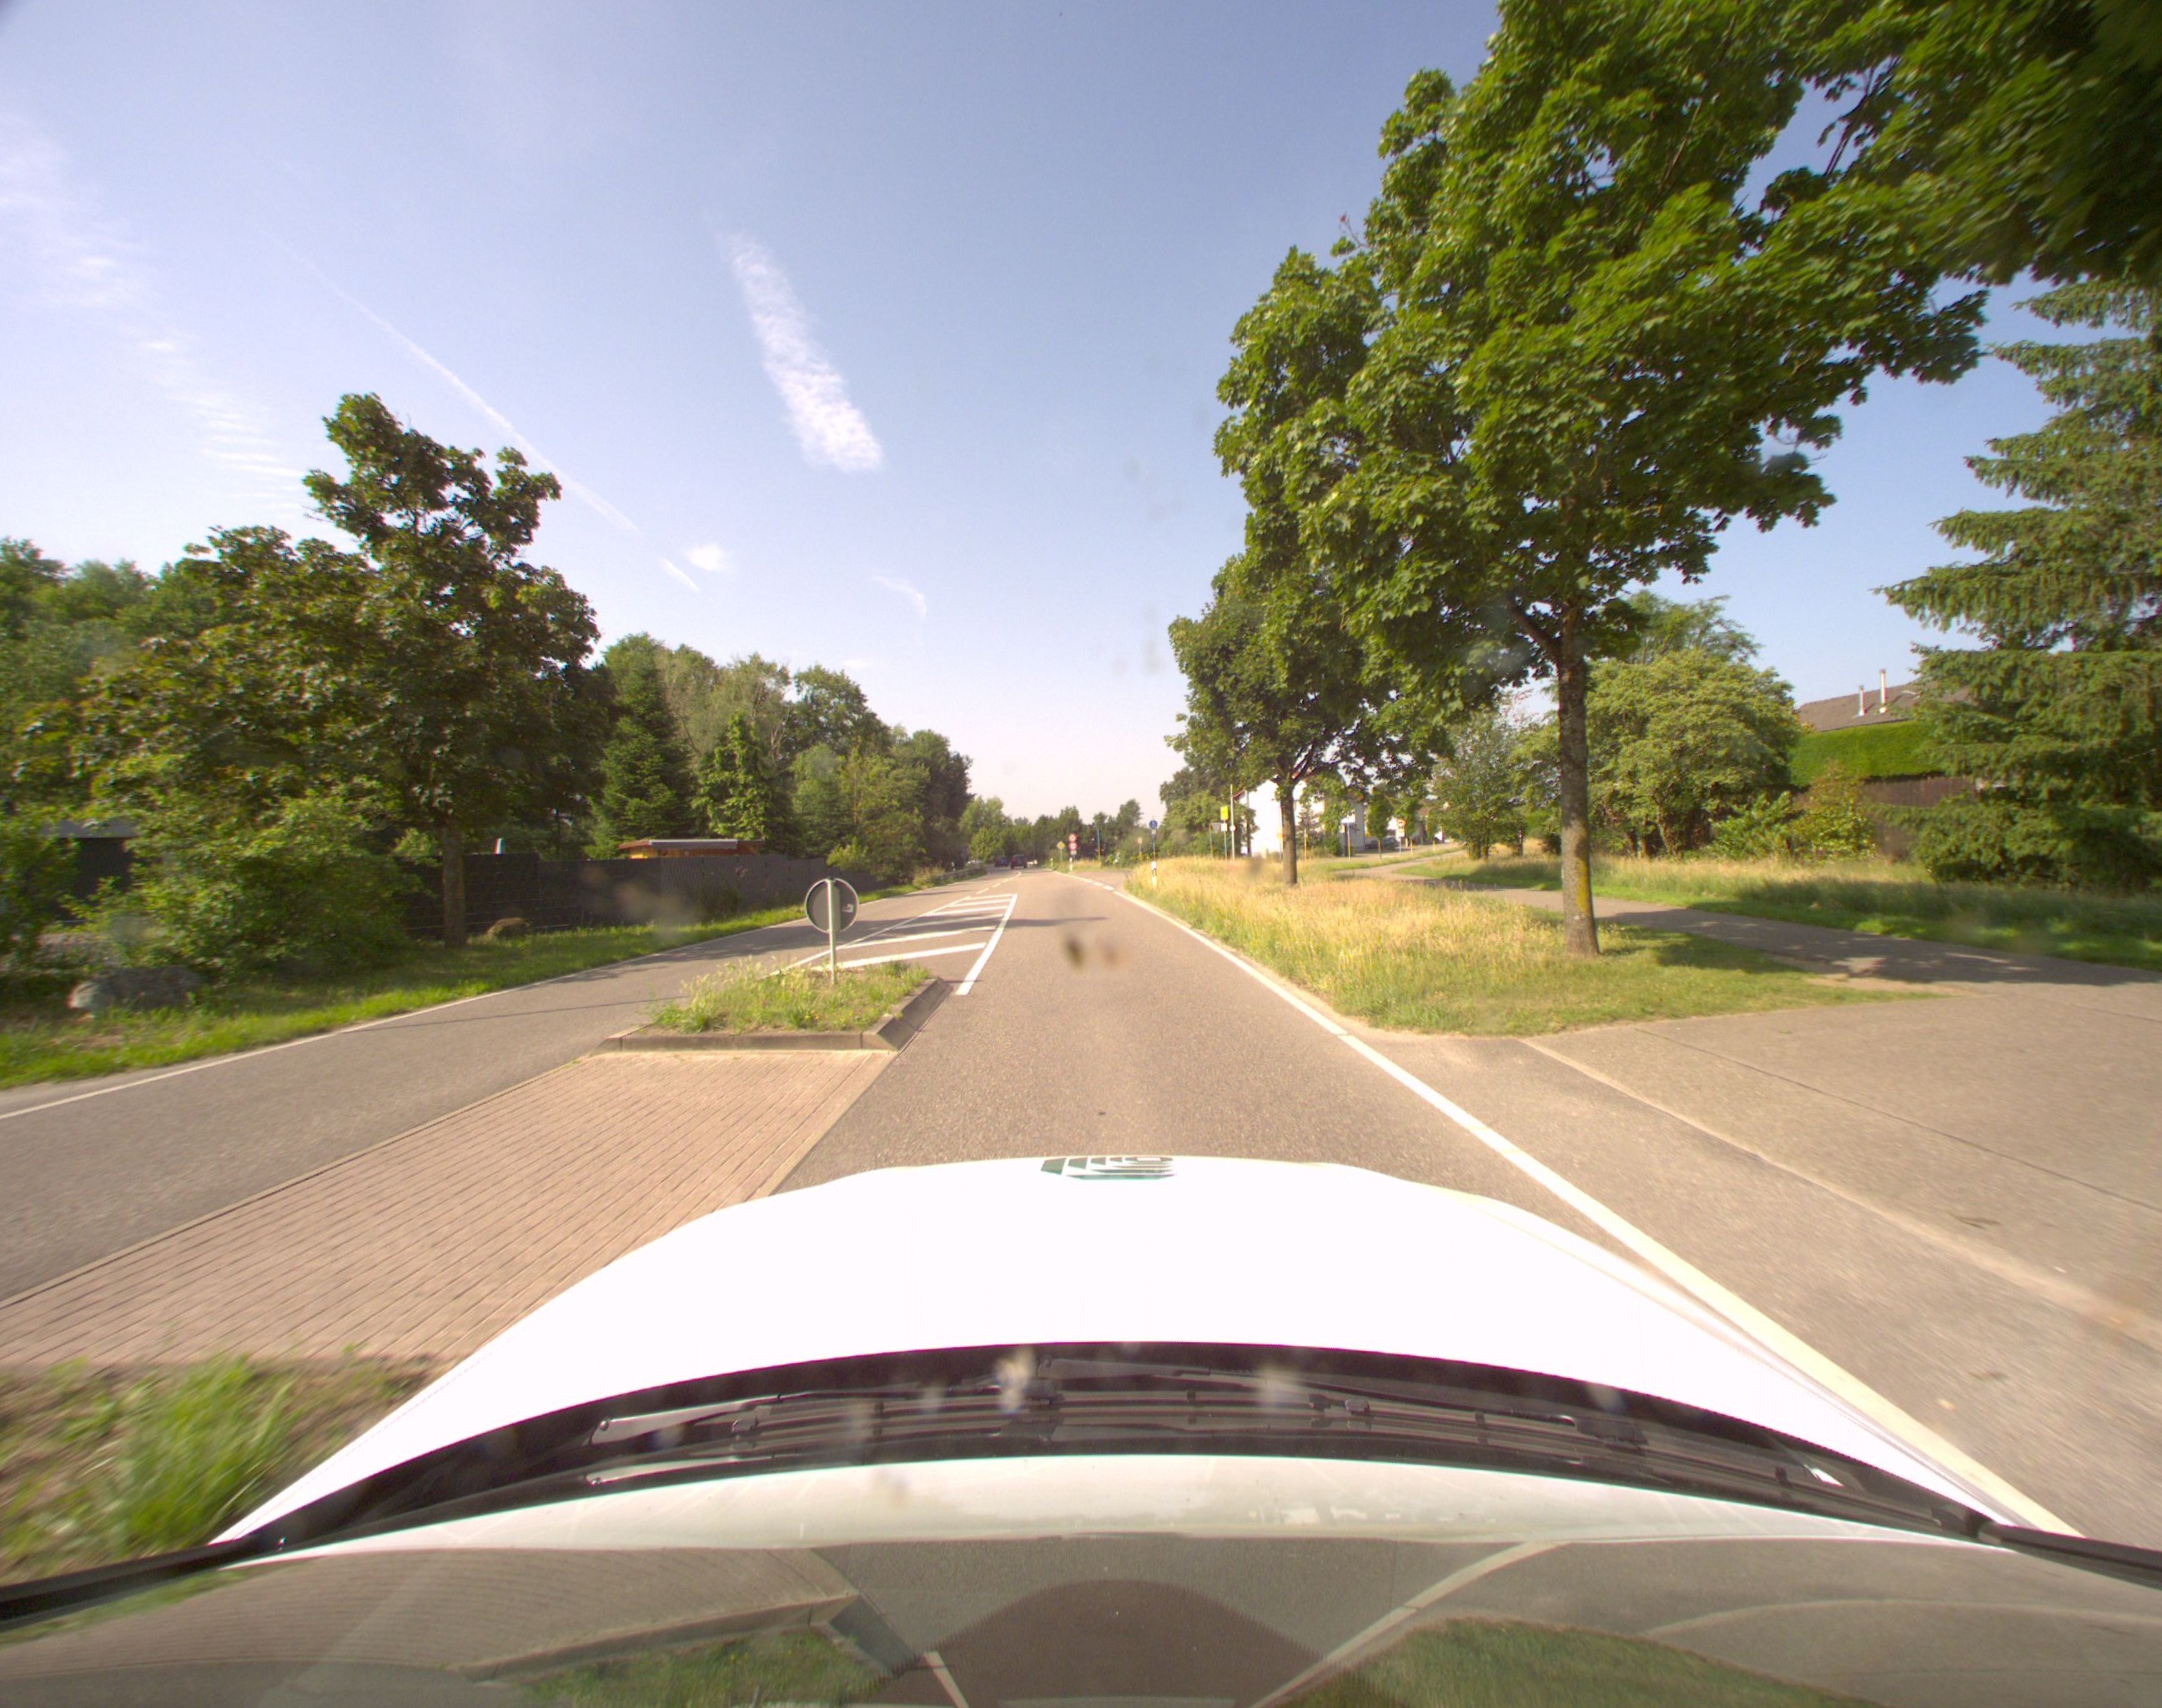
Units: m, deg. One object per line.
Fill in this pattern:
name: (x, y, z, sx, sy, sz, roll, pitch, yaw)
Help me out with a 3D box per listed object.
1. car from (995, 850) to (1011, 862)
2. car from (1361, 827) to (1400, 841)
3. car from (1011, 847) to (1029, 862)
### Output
car: (-11.957, 0.310, 124.079, 2.005, 1.771, 3.985, -2, 1, -11)
car: (38.669, -2.619, 105.255, 4.402, 1.698, 1.782, -1, 1, 37)
car: (-7.710, 0.048, 103.207, 1.925, 1.771, 3.987, -2, 1, -9)
